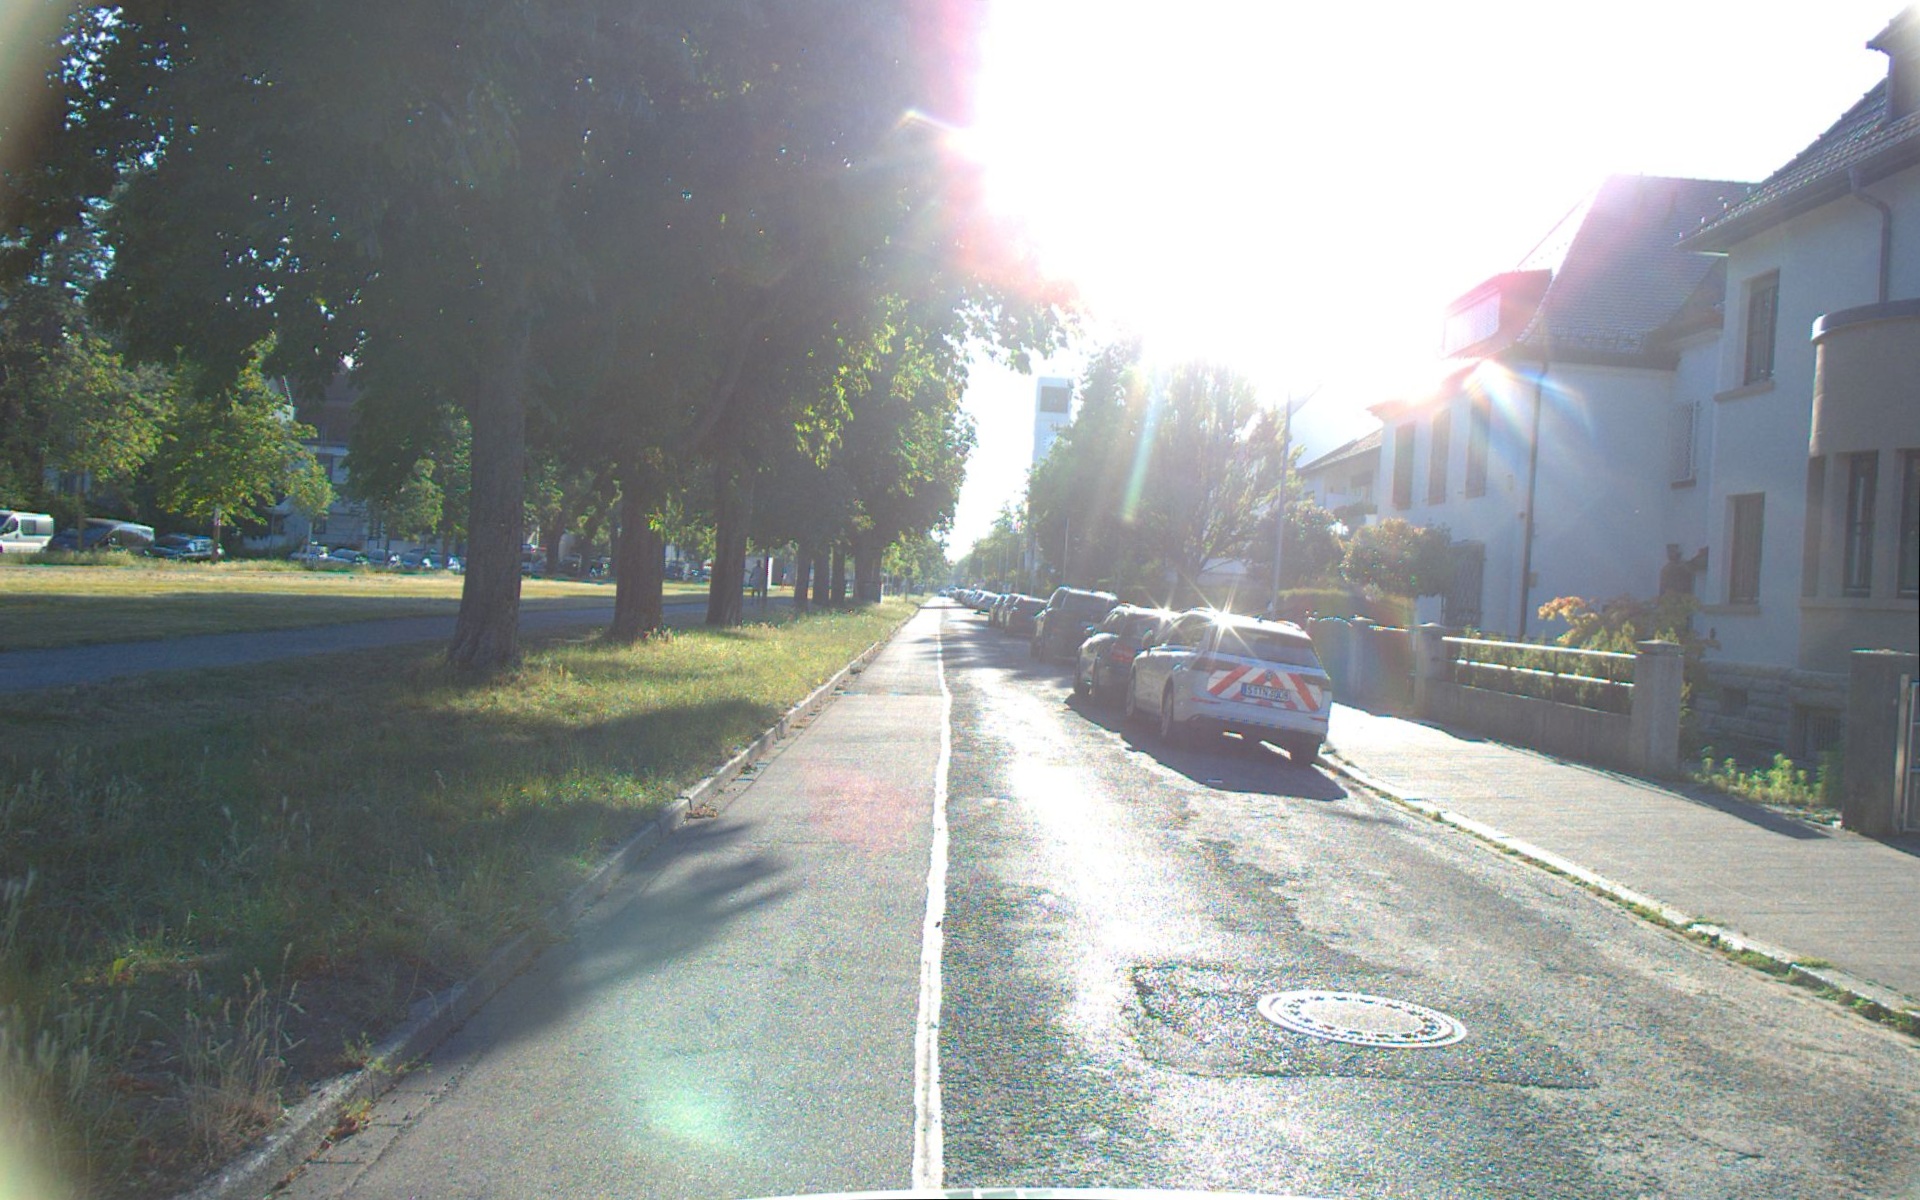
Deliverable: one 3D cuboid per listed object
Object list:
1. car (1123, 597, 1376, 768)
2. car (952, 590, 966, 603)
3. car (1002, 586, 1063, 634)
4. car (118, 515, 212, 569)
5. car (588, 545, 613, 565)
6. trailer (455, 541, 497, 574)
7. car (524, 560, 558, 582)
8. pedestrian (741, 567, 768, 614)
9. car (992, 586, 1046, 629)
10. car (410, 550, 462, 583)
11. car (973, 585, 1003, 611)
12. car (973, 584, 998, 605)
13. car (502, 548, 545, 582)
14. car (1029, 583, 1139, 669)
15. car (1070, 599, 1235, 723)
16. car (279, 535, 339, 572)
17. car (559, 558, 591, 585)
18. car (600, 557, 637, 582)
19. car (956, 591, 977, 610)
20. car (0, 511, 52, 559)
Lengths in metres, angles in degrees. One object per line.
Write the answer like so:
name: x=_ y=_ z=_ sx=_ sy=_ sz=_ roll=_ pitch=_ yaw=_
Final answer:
car: x=3.219 y=0.854 z=19.369 sx=1.954 sy=1.489 sz=4.549 roll=5 pitch=1 yaw=-2
car: x=-0.121 y=-0.486 z=236.648 sx=1.940 sy=1.712 sz=4.000 roll=4 pitch=0 yaw=0
car: x=2.526 y=0.348 z=58.722 sx=1.757 sy=1.518 sz=4.673 roll=4 pitch=0 yaw=-1
car: x=-34.049 y=-2.464 z=70.954 sx=1.953 sy=2.048 sz=4.000 roll=5 pitch=0 yaw=0
car: x=-41.579 y=-5.213 z=191.376 sx=1.953 sy=2.049 sz=4.483 roll=1 pitch=-1 yaw=-1
trailer: x=-40.179 y=-3.510 z=137.278 sx=1.953 sy=2.470 sz=4.723 roll=4 pitch=0 yaw=0
car: x=-34.908 y=-2.398 z=137.786 sx=1.650 sy=1.586 sz=4.314 roll=4 pitch=0 yaw=0
pedestrian: x=-8.085 y=-0.389 z=65.100 sx=0.709 sy=1.788 sz=0.994 roll=4 pitch=1 yaw=6
car: x=2.429 y=0.303 z=69.263 sx=1.659 sy=1.508 sz=3.925 roll=8 pitch=0 yaw=-5
car: x=-34.541 y=-2.180 z=109.151 sx=1.953 sy=1.892 sz=4.255 roll=4 pitch=0 yaw=1
car: x=1.844 y=-0.125 z=111.437 sx=1.723 sy=1.443 sz=4.072 roll=10 pitch=0 yaw=0
car: x=2.049 y=-0.452 z=134.806 sx=1.723 sy=1.633 sz=4.357 roll=3 pitch=0 yaw=-2
car: x=-40.572 y=-3.209 z=153.826 sx=2.388 sy=2.973 sz=5.817 roll=1 pitch=0 yaw=-1
car: x=2.848 y=0.553 z=38.996 sx=1.954 sy=1.767 sz=4.862 roll=4 pitch=0 yaw=-2
car: x=2.800 y=0.836 z=25.003 sx=1.745 sy=1.487 sz=4.593 roll=7 pitch=0 yaw=-1
car: x=-39.752 y=-2.805 z=101.084 sx=1.990 sy=2.049 sz=4.000 roll=1 pitch=0 yaw=0
car: x=-34.455 y=-2.535 z=148.125 sx=1.650 sy=2.213 sz=4.314 roll=4 pitch=1 yaw=0
car: x=-34.482 y=-3.078 z=167.022 sx=2.483 sy=2.275 sz=5.459 roll=3 pitch=1 yaw=0
car: x=0.587 y=0.031 z=155.216 sx=1.723 sy=1.633 sz=4.357 roll=3 pitch=0 yaw=-2
car: x=-39.223 y=-2.690 z=67.507 sx=1.780 sy=1.869 sz=4.408 roll=4 pitch=0 yaw=0
